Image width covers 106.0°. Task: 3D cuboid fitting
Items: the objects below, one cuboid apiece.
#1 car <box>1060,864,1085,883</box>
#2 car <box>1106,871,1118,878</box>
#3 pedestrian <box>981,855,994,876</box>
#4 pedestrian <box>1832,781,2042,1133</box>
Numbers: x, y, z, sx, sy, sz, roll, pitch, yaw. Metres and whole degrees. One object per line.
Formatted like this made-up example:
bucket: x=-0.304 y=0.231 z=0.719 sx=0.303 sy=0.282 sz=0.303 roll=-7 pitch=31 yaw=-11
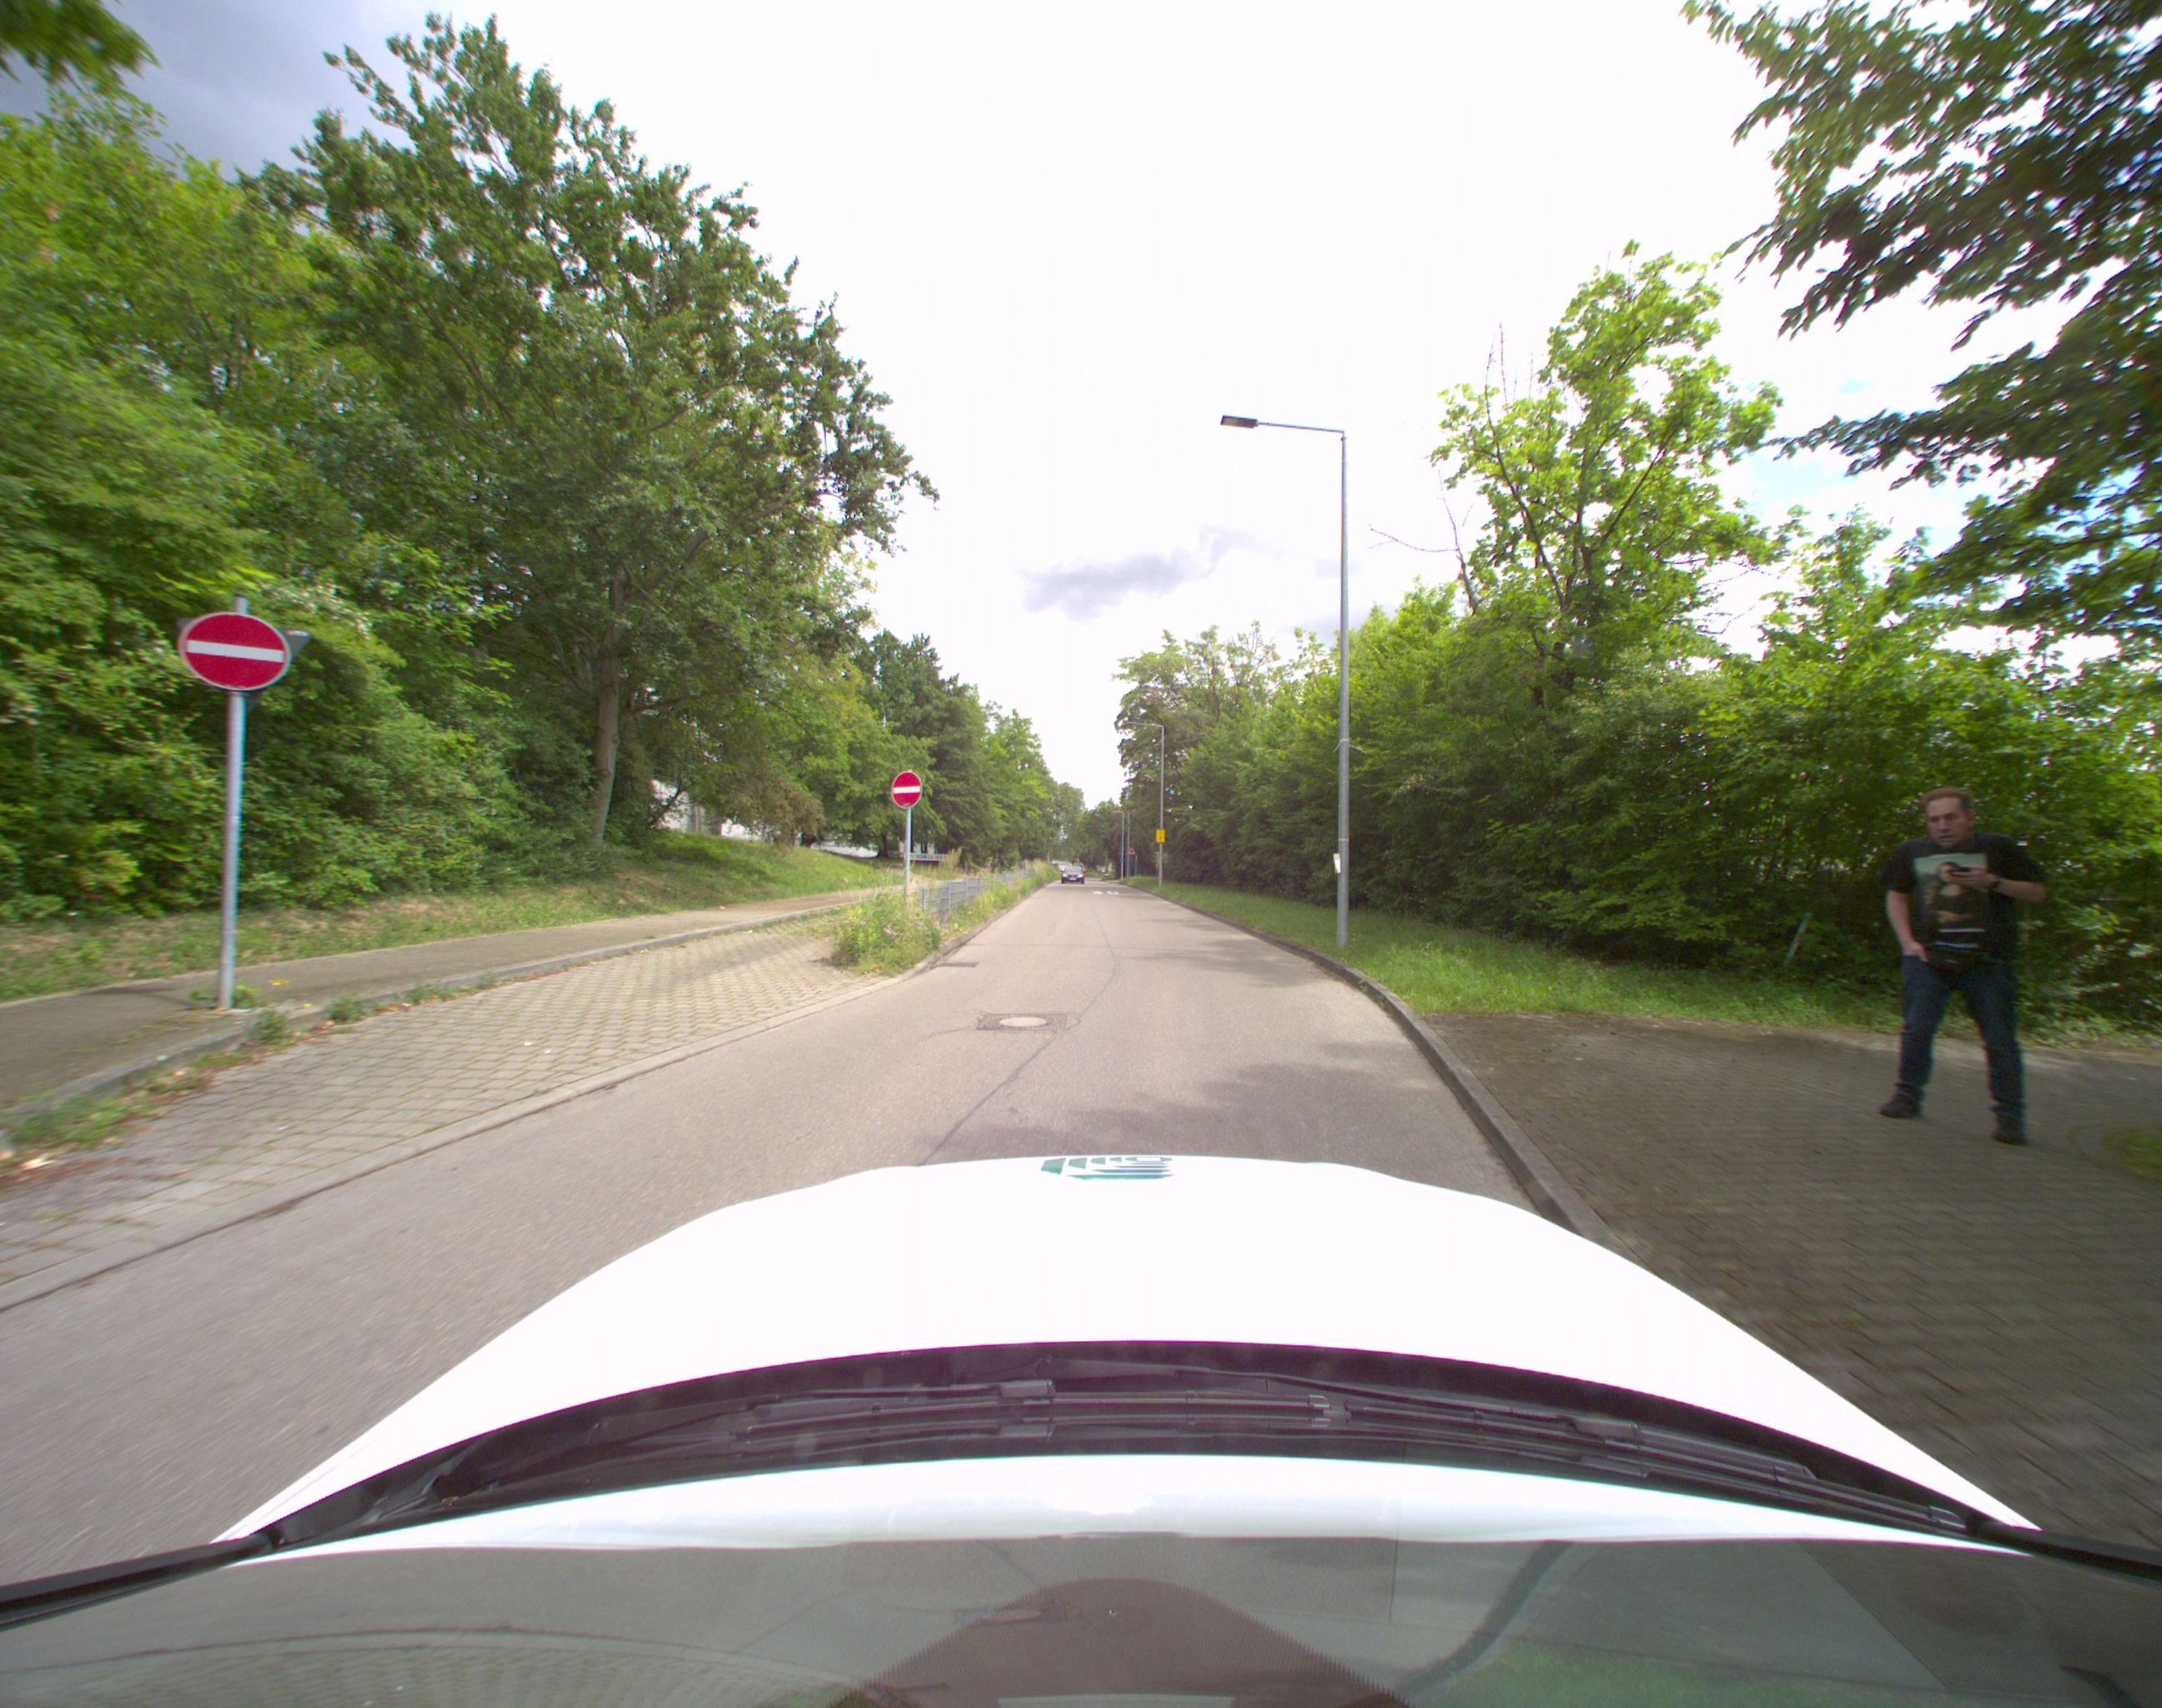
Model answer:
car: x=-0.588 y=1.474 z=61.283 sx=1.686 sy=1.349 sz=4.096 roll=0 pitch=0 yaw=2
car: x=7.202 y=4.755 z=188.016 sx=1.846 sy=1.492 sz=4.014 roll=-2 pitch=-4 yaw=14
pedestrian: x=-9.140 y=1.117 z=79.604 sx=0.872 sy=2.014 sz=0.867 roll=3 pitch=-5 yaw=-45
pedestrian: x=4.742 y=0.524 z=4.565 sx=0.581 sy=1.783 sz=0.686 roll=0 pitch=-1 yaw=24
